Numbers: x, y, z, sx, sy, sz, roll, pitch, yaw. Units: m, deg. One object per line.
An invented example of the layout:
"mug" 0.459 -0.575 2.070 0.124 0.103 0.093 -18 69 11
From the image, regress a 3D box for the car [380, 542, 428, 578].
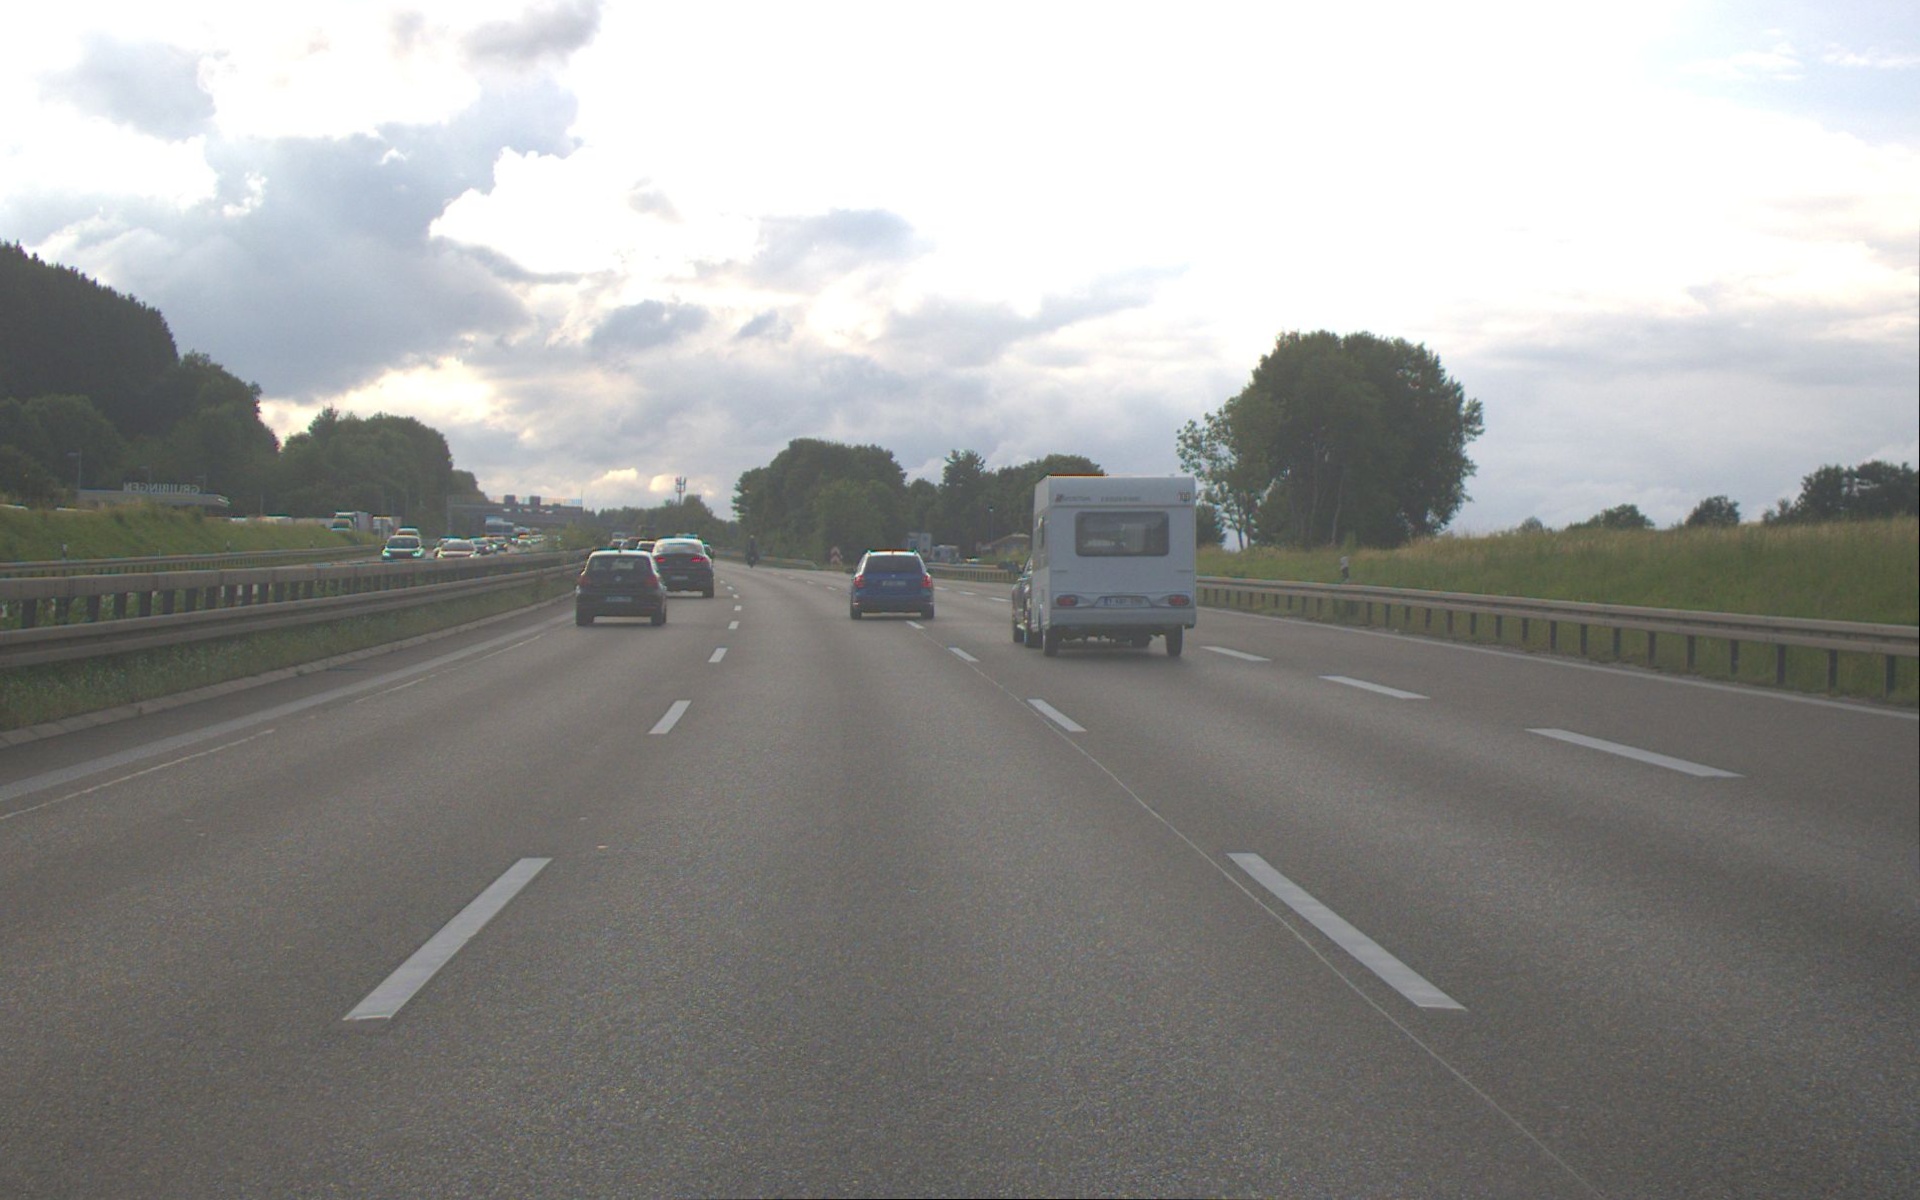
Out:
"car" -26.301 -1.892 162.720 1.807 1.608 4.341 1 0 -4

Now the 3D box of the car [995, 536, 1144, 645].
"car" 1.708 -0.190 55.193 1.786 1.647 4.482 1 1 -6

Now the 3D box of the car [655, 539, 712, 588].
"car" -8.049 -1.082 100.225 1.565 1.375 4.001 0 1 -3

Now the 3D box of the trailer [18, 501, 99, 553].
"trailer" -55.481 -4.467 211.859 2.876 2.844 11.382 1 0 -5

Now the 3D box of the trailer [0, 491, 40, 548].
"trailer" -53.676 -4.472 191.123 2.876 2.844 11.382 1 0 -5

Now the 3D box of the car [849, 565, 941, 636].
"car" -1.402 -0.007 72.729 1.766 1.428 4.000 -1 0 -3

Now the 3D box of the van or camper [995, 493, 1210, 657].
"van or camper" 2.007 -0.374 50.231 2.547 2.232 5.330 1 1 -4

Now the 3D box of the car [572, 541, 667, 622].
"car" -6.579 -0.372 66.672 1.538 1.343 3.678 1 3 -1
